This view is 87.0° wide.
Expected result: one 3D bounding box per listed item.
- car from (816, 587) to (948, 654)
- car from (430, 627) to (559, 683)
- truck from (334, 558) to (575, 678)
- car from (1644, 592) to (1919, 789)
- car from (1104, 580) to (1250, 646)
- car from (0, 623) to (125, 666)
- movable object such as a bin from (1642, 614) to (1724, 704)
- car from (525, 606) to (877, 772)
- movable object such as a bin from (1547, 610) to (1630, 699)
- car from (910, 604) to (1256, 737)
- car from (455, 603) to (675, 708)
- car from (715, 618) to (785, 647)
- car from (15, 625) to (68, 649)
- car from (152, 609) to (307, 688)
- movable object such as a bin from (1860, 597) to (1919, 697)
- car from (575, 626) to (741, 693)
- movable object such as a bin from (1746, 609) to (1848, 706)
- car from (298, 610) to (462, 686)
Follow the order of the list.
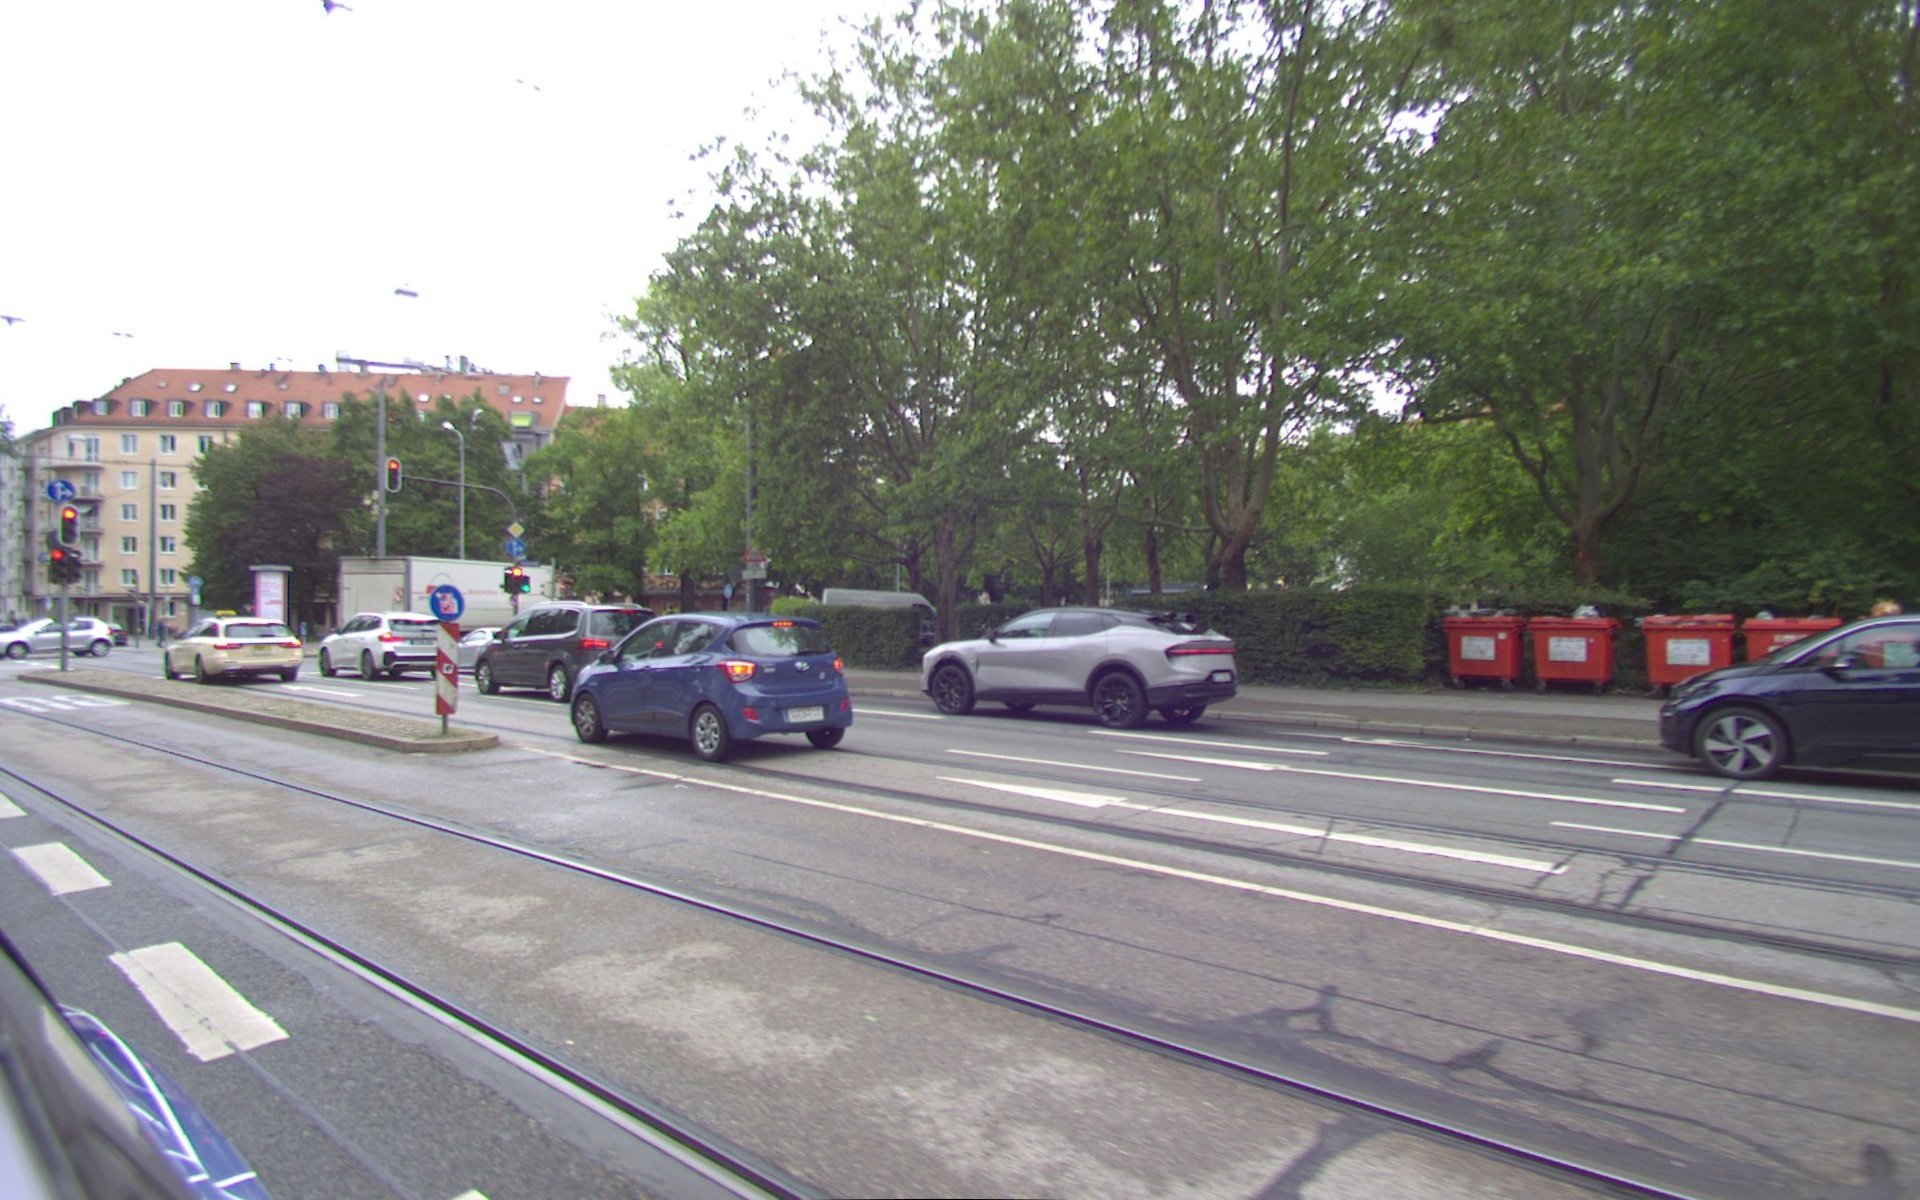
[{"bbox_3d":[-2.886,0.771,36.891,4.556,2.029,2.003,5,-3,-7],"label":"car"},{"bbox_3d":[-12.843,1.489,27.826,4.102,1.422,1.712,-1,-4,42],"label":"car"},{"bbox_3d":[-19.187,0.793,39.777,2.714,4.011,11.696,0,-2,5],"label":"truck"},{"bbox_3d":[8.939,0.787,9.145,4.354,1.679,1.780,-1,-2,42],"label":"car"},{"bbox_3d":[9.166,0.620,43.253,5.866,2.554,1.971,-4,-3,45],"label":"car"},{"bbox_3d":[-34.822,1.681,38.659,1.770,1.536,4.164,-3,-2,31],"label":"car"},{"bbox_3d":[11.549,0.916,16.155,1.012,1.363,0.925,-1,-1,38],"label":"movable object such as a bin"},{"bbox_3d":[-3.085,0.862,11.512,4.354,1.534,1.780,-1,-2,42],"label":"car"},{"bbox_3d":[10.646,0.897,17.141,1.081,1.363,0.926,-1,4,38],"label":"movable object such as a bin"},{"bbox_3d":[1.638,0.934,14.969,4.998,1.655,1.780,-1,-2,42],"label":"car"},{"bbox_3d":[-7.389,0.948,18.656,4.890,1.696,1.802,-1,-2,42],"label":"car"},{"bbox_3d":[-14.103,2.169,68.108,1.934,1.833,4.497,-1,-2,37],"label":"car"},{"bbox_3d":[-58.079,2.308,63.956,4.368,1.418,1.709,-1,-1,37],"label":"car"},{"bbox_3d":[-17.007,1.073,23.467,4.887,1.651,1.803,-1,-2,41],"label":"car"},{"bbox_3d":[13.694,0.651,14.367,1.276,1.363,0.925,-1,0,38],"label":"movable object such as a bin"},{"bbox_3d":[-6.986,1.291,23.214,4.098,1.391,1.802,-1,-2,42],"label":"car"},{"bbox_3d":[12.633,0.844,15.323,1.127,1.363,0.925,-1,2,38],"label":"movable object such as a bin"},{"bbox_3d":[-14.397,1.130,25.013,4.886,1.696,1.896,-1,-2,39],"label":"car"}]
